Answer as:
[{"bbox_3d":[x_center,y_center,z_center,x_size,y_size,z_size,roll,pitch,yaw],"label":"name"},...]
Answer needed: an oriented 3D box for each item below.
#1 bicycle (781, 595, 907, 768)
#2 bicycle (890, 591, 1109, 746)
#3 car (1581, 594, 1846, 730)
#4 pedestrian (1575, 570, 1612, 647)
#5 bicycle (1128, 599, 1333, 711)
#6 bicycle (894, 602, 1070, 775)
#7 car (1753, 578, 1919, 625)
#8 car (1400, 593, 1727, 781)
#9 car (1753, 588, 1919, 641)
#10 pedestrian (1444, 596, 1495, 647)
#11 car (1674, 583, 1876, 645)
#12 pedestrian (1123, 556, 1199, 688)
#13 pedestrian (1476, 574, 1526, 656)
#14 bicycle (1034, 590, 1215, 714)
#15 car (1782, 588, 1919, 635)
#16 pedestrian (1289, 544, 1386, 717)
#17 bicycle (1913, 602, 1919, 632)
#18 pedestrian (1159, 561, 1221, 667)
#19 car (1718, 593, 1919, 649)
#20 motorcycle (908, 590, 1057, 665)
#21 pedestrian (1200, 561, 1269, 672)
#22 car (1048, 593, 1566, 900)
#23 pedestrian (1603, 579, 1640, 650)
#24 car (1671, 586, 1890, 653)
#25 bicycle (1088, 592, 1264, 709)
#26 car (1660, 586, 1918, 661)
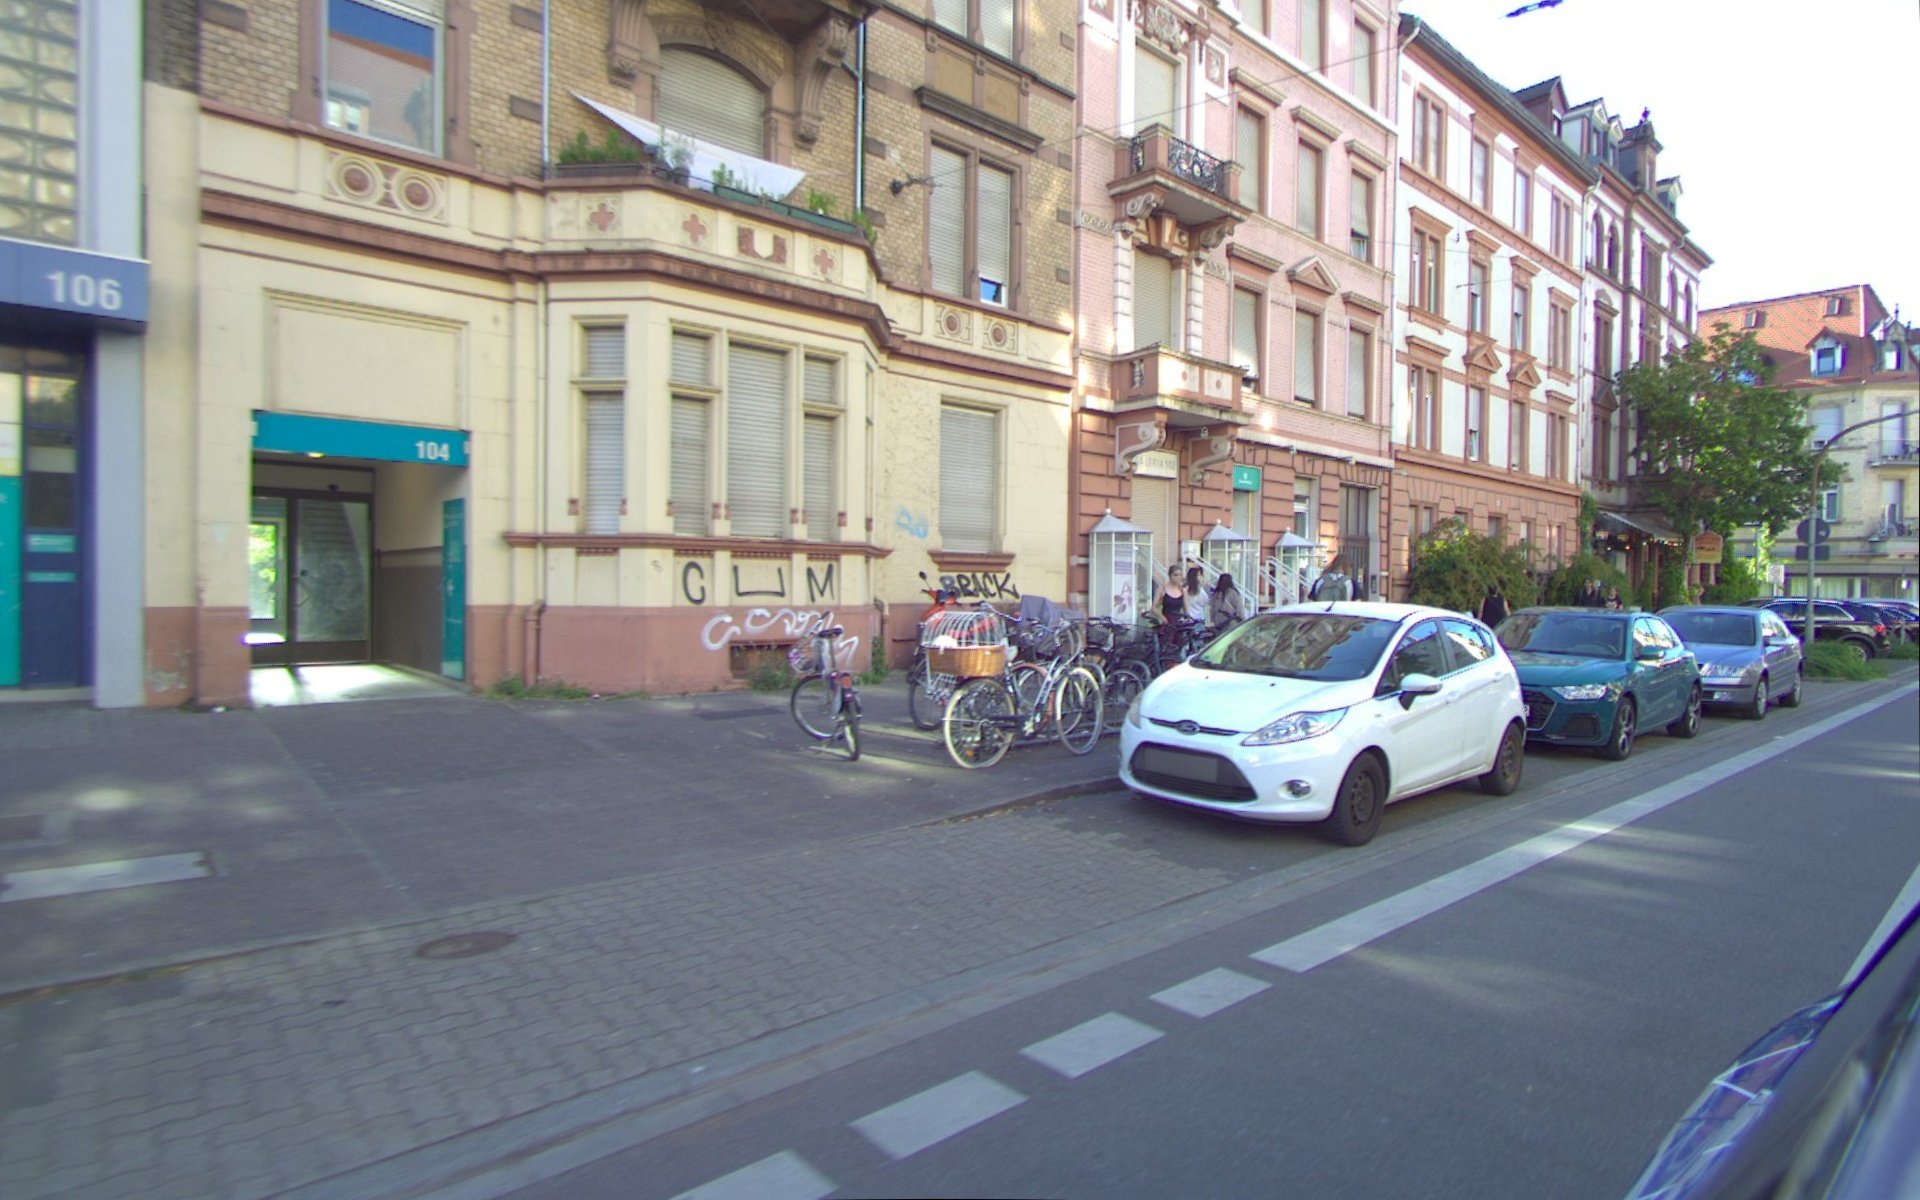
[{"bbox_3d":[-1.013,0.582,8.385,0.650,1.237,2.030,0,0,-18],"label":"bicycle"},{"bbox_3d":[0.282,0.536,9.218,0.651,1.237,2.365,0,0,-37],"label":"bicycle"},{"bbox_3d":[10.854,0.739,14.460,4.633,1.616,1.878,-1,1,-38],"label":"car"},{"bbox_3d":[15.124,0.183,24.157,0.848,1.800,0.519,0,0,-41],"label":"pedestrian"},{"bbox_3d":[3.281,0.621,12.567,0.652,1.237,2.543,0,0,-41],"label":"bicycle"},{"bbox_3d":[0.179,0.625,7.806,1.217,1.200,0.694,0,0,-41],"label":"bicycle"},{"bbox_3d":[30.010,0.033,34.784,3.958,1.556,1.902,0,0,25],"label":"car"},{"bbox_3d":[6.553,0.745,10.840,3.930,1.616,1.877,-1,1,-41],"label":"car"},{"bbox_3d":[28.571,0.443,32.556,4.402,1.616,2.071,0,0,25],"label":"car"},{"bbox_3d":[10.597,0.436,21.048,0.643,0.992,0.713,0,4,-41],"label":"pedestrian"},{"bbox_3d":[22.372,0.353,27.985,3.958,1.616,1.943,0,0,25],"label":"car"},{"bbox_3d":[2.574,0.270,12.950,0.643,1.627,0.713,0,0,-41],"label":"pedestrian"},{"bbox_3d":[11.053,0.298,20.683,0.643,1.627,0.713,0,0,-41],"label":"pedestrian"},{"bbox_3d":[1.758,0.511,11.099,0.652,1.237,2.022,0,0,-41],"label":"bicycle"},{"bbox_3d":[32.383,0.378,36.179,4.320,1.616,1.837,0,0,25],"label":"car"},{"bbox_3d":[3.868,0.291,10.370,0.643,1.692,0.713,0,0,-41],"label":"pedestrian"},{"bbox_3d":[37.088,0.651,38.312,0.542,1.141,1.400,0,0,-40],"label":"bicycle"},{"bbox_3d":[3.642,0.213,16.030,0.643,1.627,0.713,0,0,-41],"label":"pedestrian"},{"bbox_3d":[26.050,0.588,30.900,4.287,1.616,2.028,0,0,25],"label":"car"},{"bbox_3d":[0.378,0.366,15.011,2.475,1.003,0.508,-1,4,-41],"label":"motorcycle"},{"bbox_3d":[4.192,0.230,15.460,0.643,1.626,0.713,0,3,-41],"label":"pedestrian"},{"bbox_3d":[2.683,0.768,7.409,3.930,1.616,1.877,-1,1,-41],"label":"car"},{"bbox_3d":[15.893,0.342,24.316,0.848,1.669,0.519,0,0,-41],"label":"pedestrian"},{"bbox_3d":[20.935,0.458,26.054,3.958,1.616,2.070,0,0,25],"label":"car"},{"bbox_3d":[2.460,0.530,11.755,0.652,1.237,2.022,0,0,-41],"label":"bicycle"},{"bbox_3d":[19.121,0.486,23.637,4.272,1.616,1.965,0,0,25],"label":"car"}]
